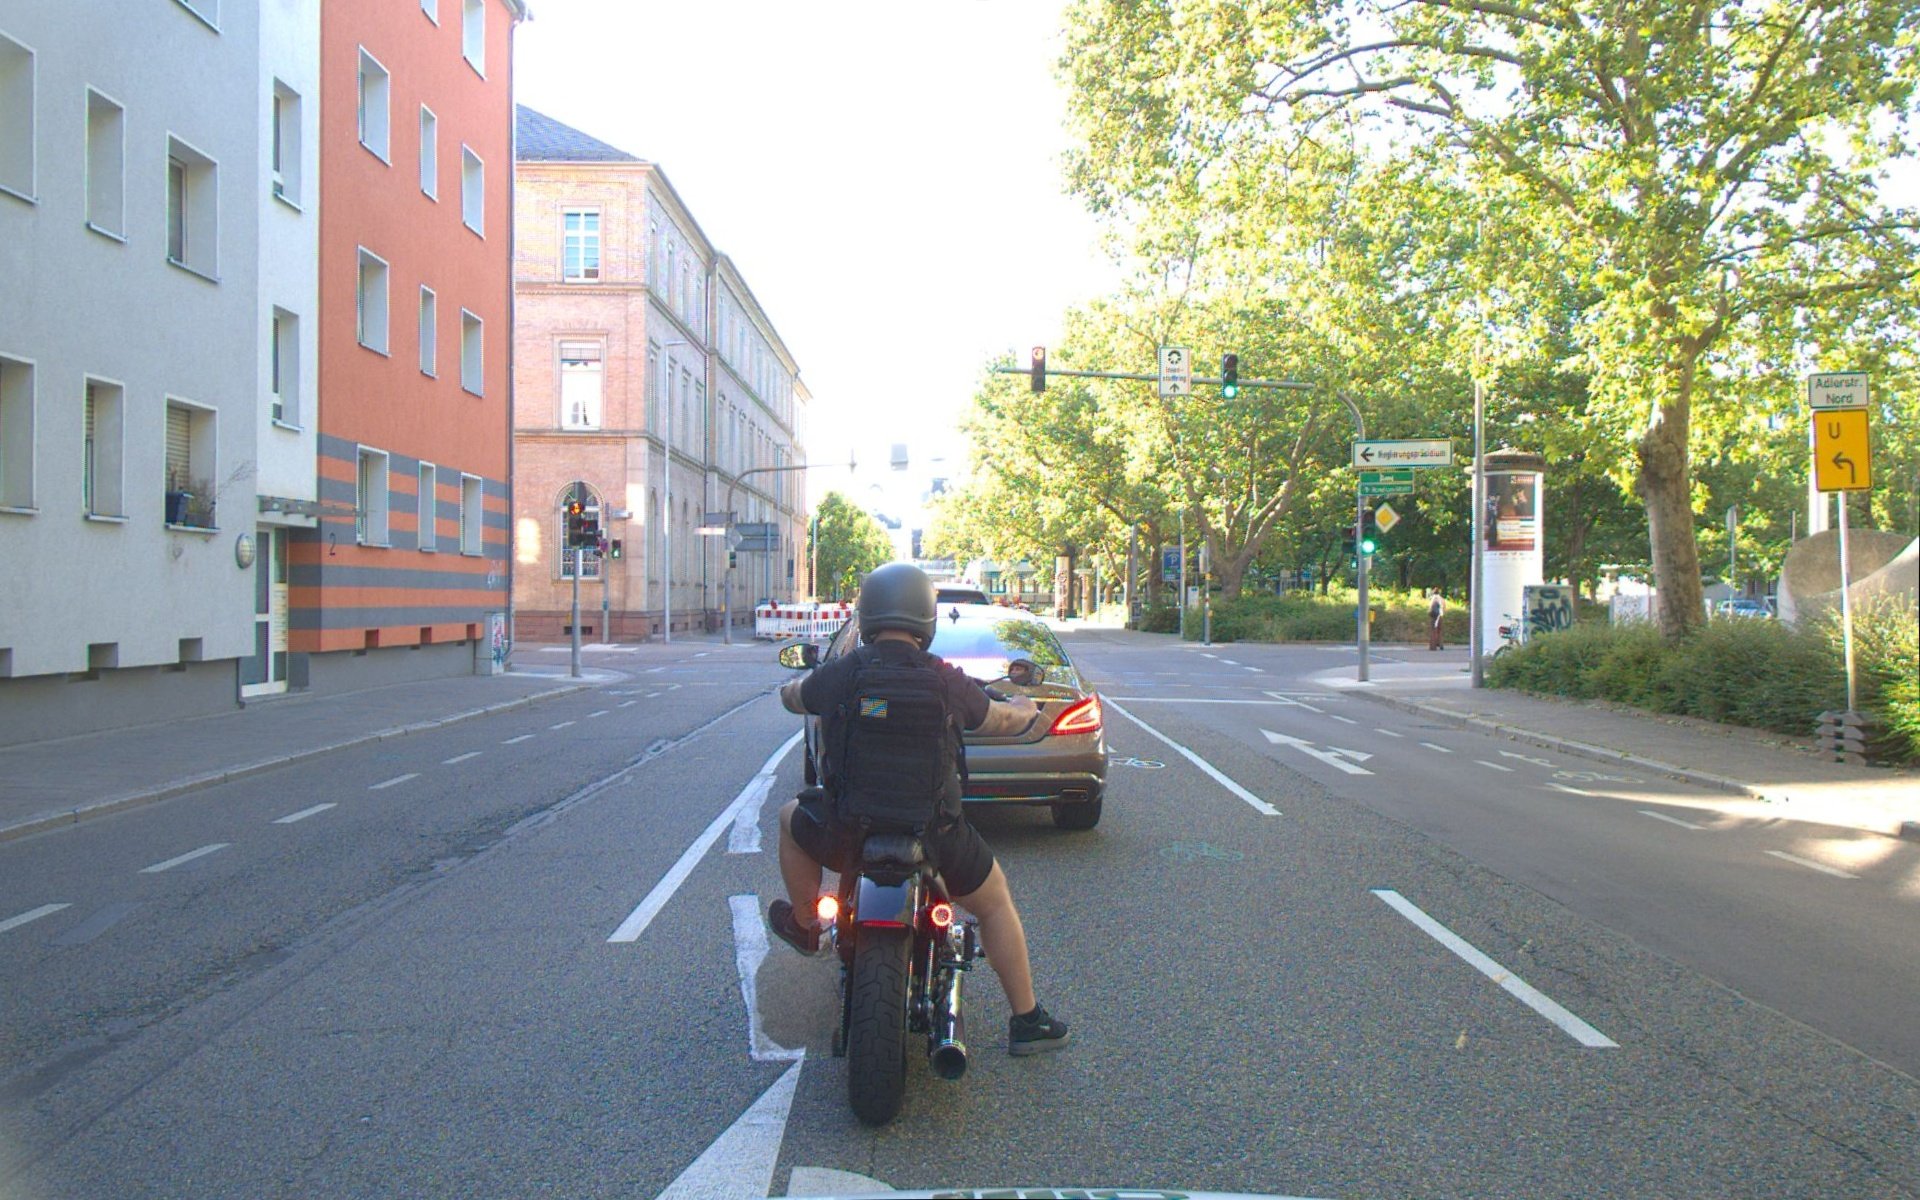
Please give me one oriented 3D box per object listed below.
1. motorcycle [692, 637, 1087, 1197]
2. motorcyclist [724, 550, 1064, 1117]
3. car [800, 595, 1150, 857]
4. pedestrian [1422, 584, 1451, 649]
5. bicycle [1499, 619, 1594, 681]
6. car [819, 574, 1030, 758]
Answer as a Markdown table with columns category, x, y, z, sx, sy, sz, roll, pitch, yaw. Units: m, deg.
| category | x | y | z | sx | sy | sz | roll | pitch | yaw |
| --- | --- | --- | --- | --- | --- | --- | --- | --- | --- |
| motorcycle | -0.188 | 0.800 | 5.238 | 0.961 | 1.297 | 2.407 | 0 | 0 | -1 |
| motorcyclist | -0.194 | 0.659 | 5.318 | 0.961 | 1.606 | 1.248 | 0 | 0 | -1 |
| car | -0.111 | 0.704 | 11.636 | 1.834 | 1.469 | 4.422 | 0 | 0 | -8 |
| pedestrian | 13.479 | 0.465 | 46.785 | 0.664 | 1.803 | 0.616 | 1 | -1 | 29 |
| bicycle | 9.790 | 0.836 | 27.612 | 1.452 | 0.997 | 0.299 | 1 | -1 | 5 |
| car | -0.359 | 0.628 | 17.555 | 1.953 | 1.695 | 3.999 | 1 | 0 | -1 |
